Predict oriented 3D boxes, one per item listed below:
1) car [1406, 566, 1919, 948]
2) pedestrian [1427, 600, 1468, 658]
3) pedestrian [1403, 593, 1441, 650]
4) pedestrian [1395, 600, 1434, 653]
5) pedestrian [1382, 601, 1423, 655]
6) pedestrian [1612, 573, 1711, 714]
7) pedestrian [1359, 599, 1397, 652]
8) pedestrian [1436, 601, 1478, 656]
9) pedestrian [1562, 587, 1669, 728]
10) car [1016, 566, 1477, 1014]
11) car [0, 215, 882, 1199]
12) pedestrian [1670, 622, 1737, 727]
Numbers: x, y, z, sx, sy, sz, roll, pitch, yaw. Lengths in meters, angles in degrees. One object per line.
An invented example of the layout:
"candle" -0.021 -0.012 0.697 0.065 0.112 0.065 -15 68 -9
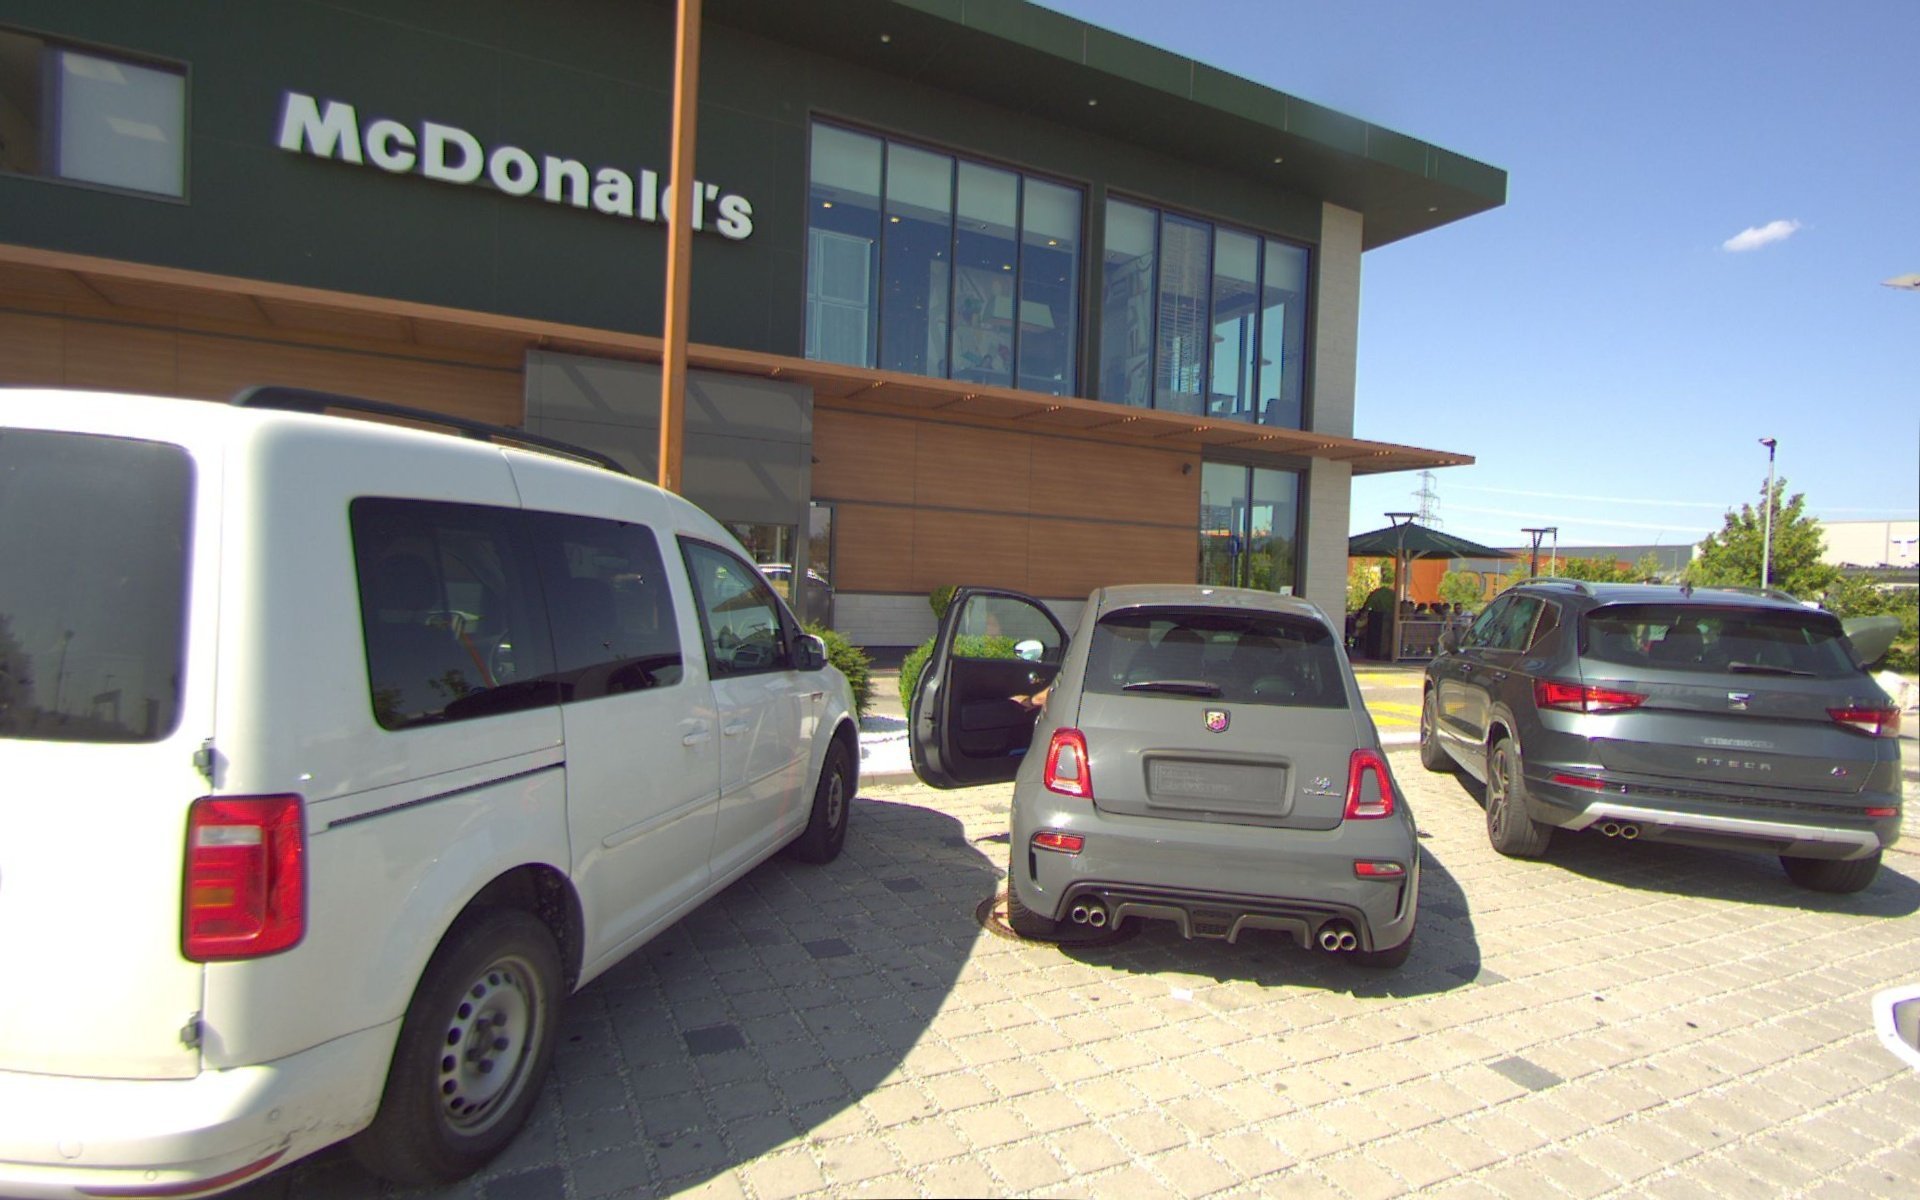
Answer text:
"car" 4.317 0.644 6.712 1.755 1.625 4.228 4 3 16
"pedestrian" 11.078 0.654 22.816 0.707 1.275 0.520 1 1 -31
"pedestrian" 10.736 0.495 23.337 0.627 1.275 0.520 1 1 -31
"pedestrian" 11.225 0.646 24.808 0.721 1.275 0.568 1 1 -32
"pedestrian" 9.604 0.611 21.802 0.627 1.139 0.520 1 1 -31
"pedestrian" 9.307 0.553 13.329 0.888 1.792 0.795 1 1 -36
"pedestrian" 10.199 0.622 24.510 0.707 1.275 0.520 1 1 -31
"pedestrian" 11.725 0.665 23.717 0.721 1.275 0.568 1 1 -32
"pedestrian" 7.773 0.662 11.928 0.729 1.605 0.726 1 1 -17
"car" 1.234 0.635 5.245 1.536 1.502 3.417 2 1 8
"car" -1.683 0.315 3.839 1.722 1.947 4.147 2 0 10
"pedestrian" 8.862 0.870 11.974 0.444 1.202 0.487 1 1 -33
